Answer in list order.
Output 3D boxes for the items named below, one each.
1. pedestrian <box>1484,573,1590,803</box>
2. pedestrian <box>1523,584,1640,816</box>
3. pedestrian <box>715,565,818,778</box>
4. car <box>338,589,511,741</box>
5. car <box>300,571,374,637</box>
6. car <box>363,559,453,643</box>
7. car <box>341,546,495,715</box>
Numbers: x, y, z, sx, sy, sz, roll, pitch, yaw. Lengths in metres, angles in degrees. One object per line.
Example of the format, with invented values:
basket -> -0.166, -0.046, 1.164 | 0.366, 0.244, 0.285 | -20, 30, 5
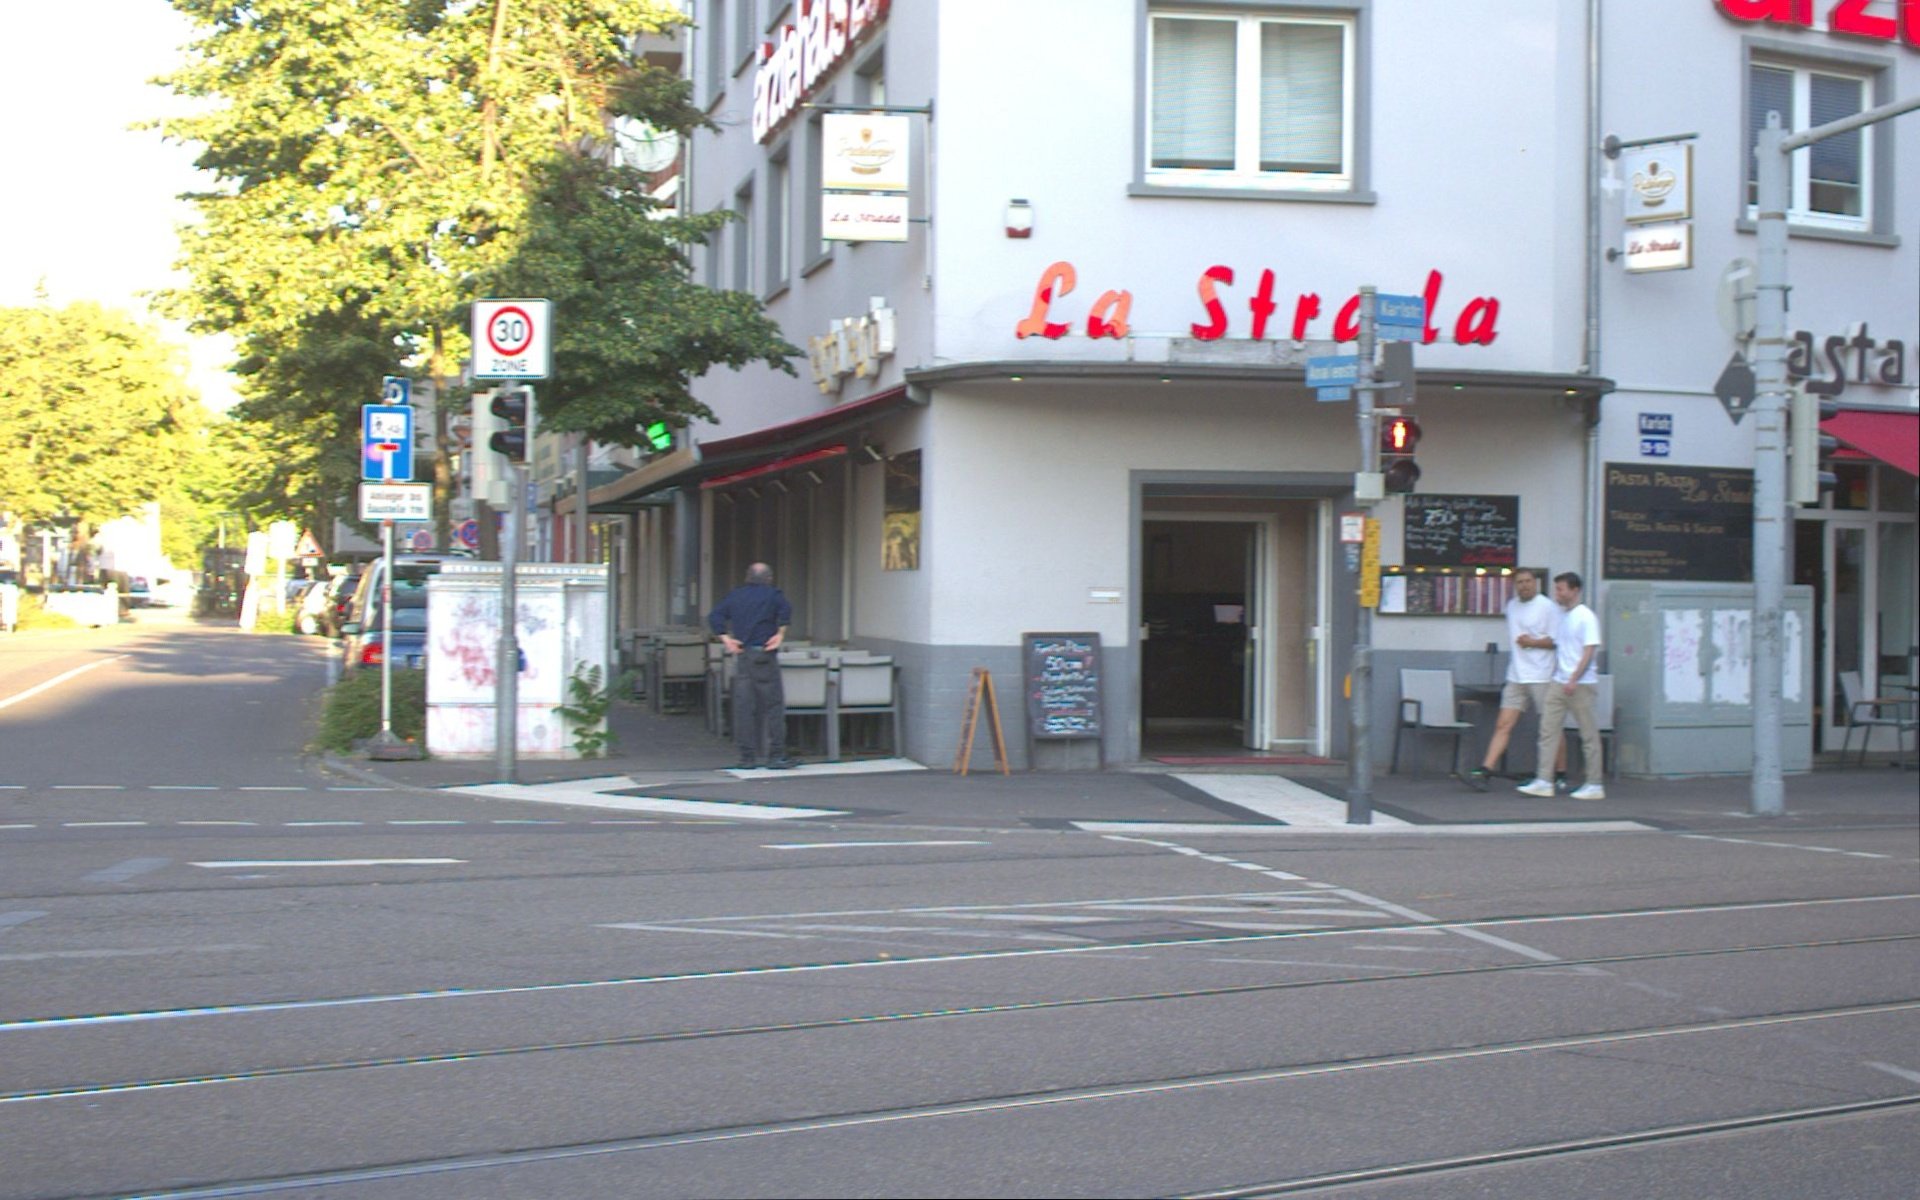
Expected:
pedestrian -> 4.523, 0.681, 26.970 | 0.598, 1.773, 0.638 | 1, 0, -11
pedestrian -> 4.750, 0.757, 26.301 | 0.666, 1.738, 0.638 | 1, 0, -11
pedestrian -> -1.546, 0.563, 27.405 | 0.711, 1.671, 0.703 | 1, 0, -11
car -> -5.428, 0.626, 35.093 | 1.639, 1.439, 3.608 | 1, 0, -8
car -> -17.660, 0.098, 97.630 | 1.851, 1.788, 4.001 | 1, 0, -8
car -> -12.461, 0.012, 77.774 | 1.851, 1.788, 4.001 | 3, 0, -8
car -> -6.527, 0.327, 41.677 | 1.639, 1.867, 3.608 | 4, 0, -8
